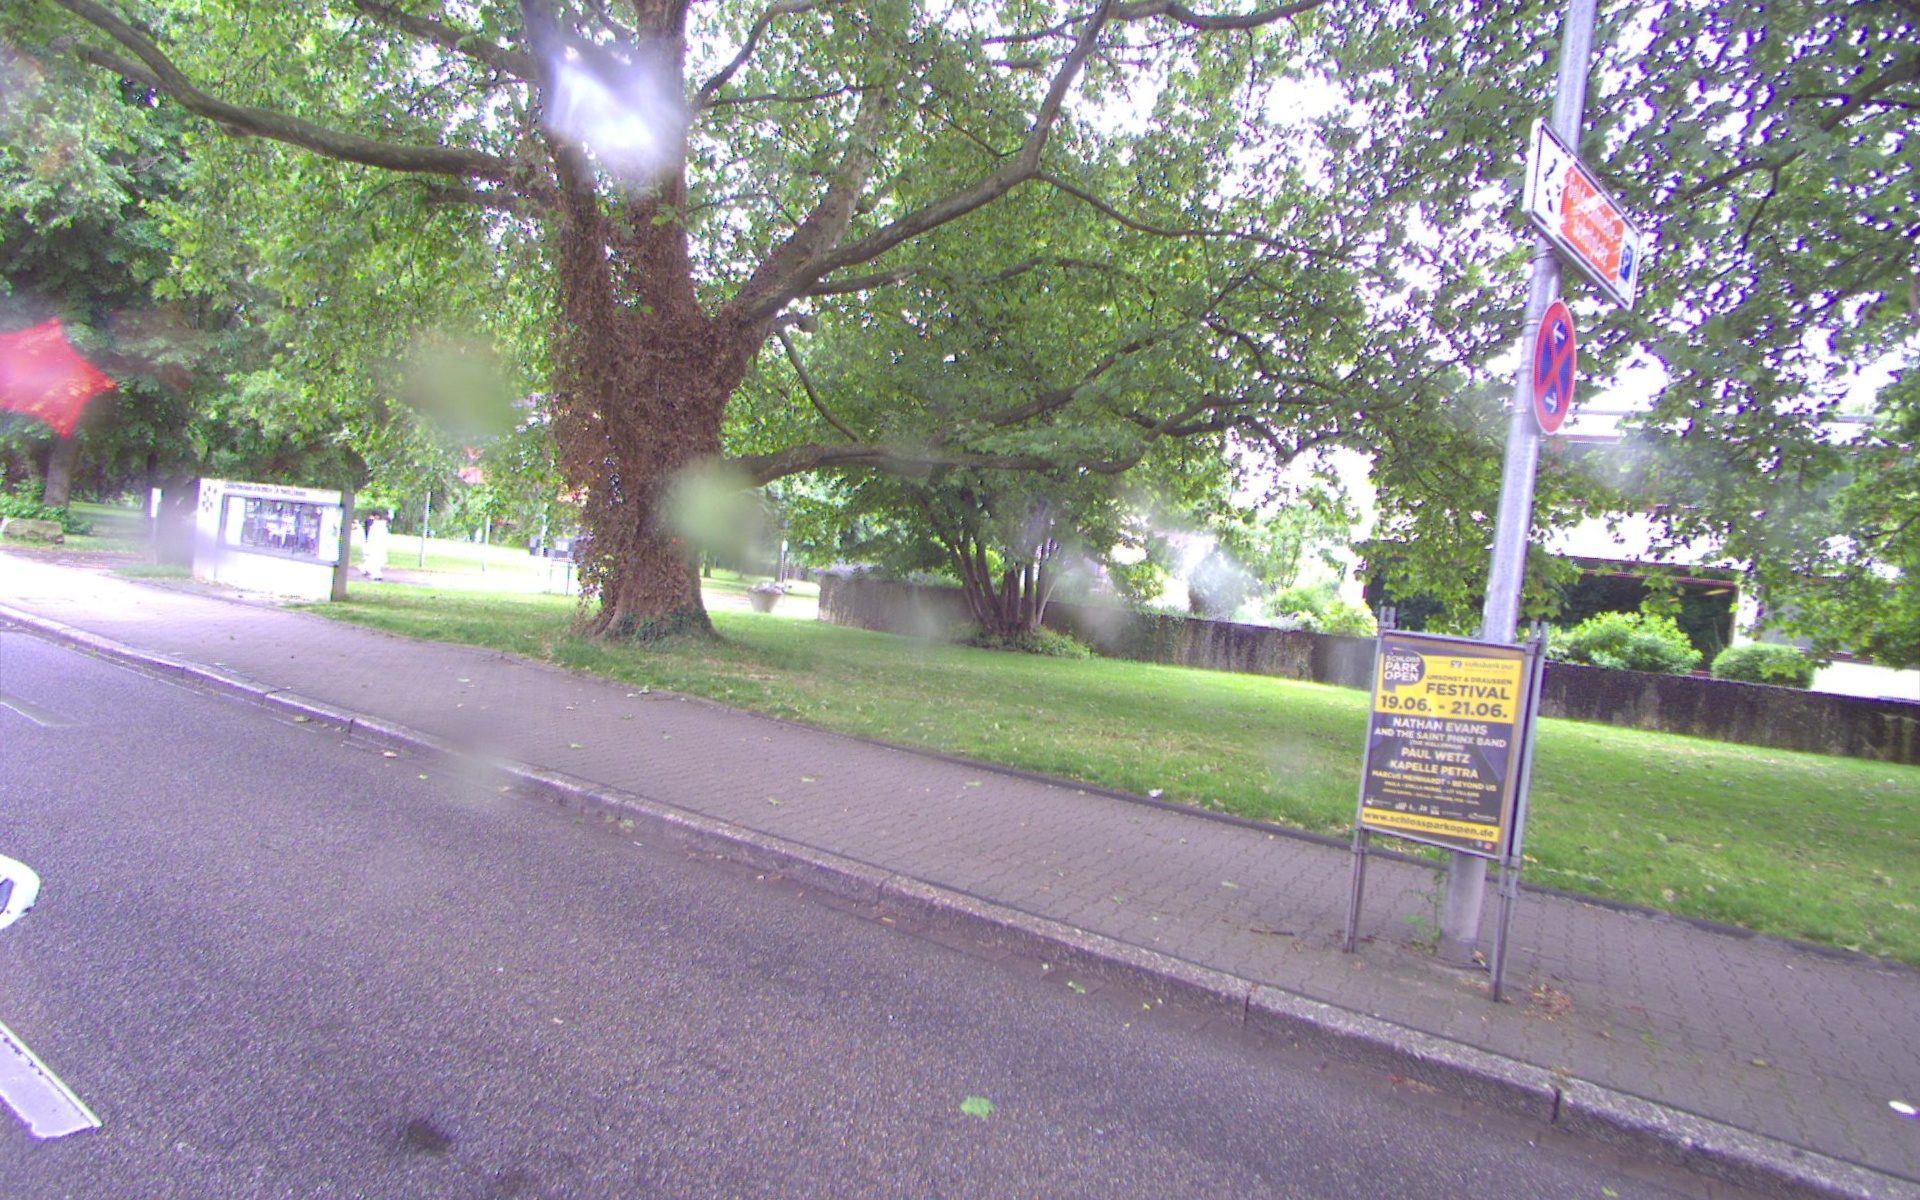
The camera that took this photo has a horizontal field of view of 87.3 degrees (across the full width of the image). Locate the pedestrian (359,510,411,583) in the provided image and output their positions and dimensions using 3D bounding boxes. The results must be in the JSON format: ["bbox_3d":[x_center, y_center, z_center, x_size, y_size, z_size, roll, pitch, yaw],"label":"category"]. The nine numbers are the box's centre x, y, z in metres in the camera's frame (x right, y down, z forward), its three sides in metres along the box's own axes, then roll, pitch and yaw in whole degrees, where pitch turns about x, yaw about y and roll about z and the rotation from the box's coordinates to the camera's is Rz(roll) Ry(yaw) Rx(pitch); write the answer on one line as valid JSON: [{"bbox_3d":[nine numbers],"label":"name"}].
[{"bbox_3d":[-14.804,-1.376,25.903,0.776,1.732,0.666,7,-1,23],"label":"pedestrian"}]

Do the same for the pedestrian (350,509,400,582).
[{"bbox_3d":[-15.430,-1.433,26.542,0.711,1.776,0.666,7,-1,23],"label":"pedestrian"}]
